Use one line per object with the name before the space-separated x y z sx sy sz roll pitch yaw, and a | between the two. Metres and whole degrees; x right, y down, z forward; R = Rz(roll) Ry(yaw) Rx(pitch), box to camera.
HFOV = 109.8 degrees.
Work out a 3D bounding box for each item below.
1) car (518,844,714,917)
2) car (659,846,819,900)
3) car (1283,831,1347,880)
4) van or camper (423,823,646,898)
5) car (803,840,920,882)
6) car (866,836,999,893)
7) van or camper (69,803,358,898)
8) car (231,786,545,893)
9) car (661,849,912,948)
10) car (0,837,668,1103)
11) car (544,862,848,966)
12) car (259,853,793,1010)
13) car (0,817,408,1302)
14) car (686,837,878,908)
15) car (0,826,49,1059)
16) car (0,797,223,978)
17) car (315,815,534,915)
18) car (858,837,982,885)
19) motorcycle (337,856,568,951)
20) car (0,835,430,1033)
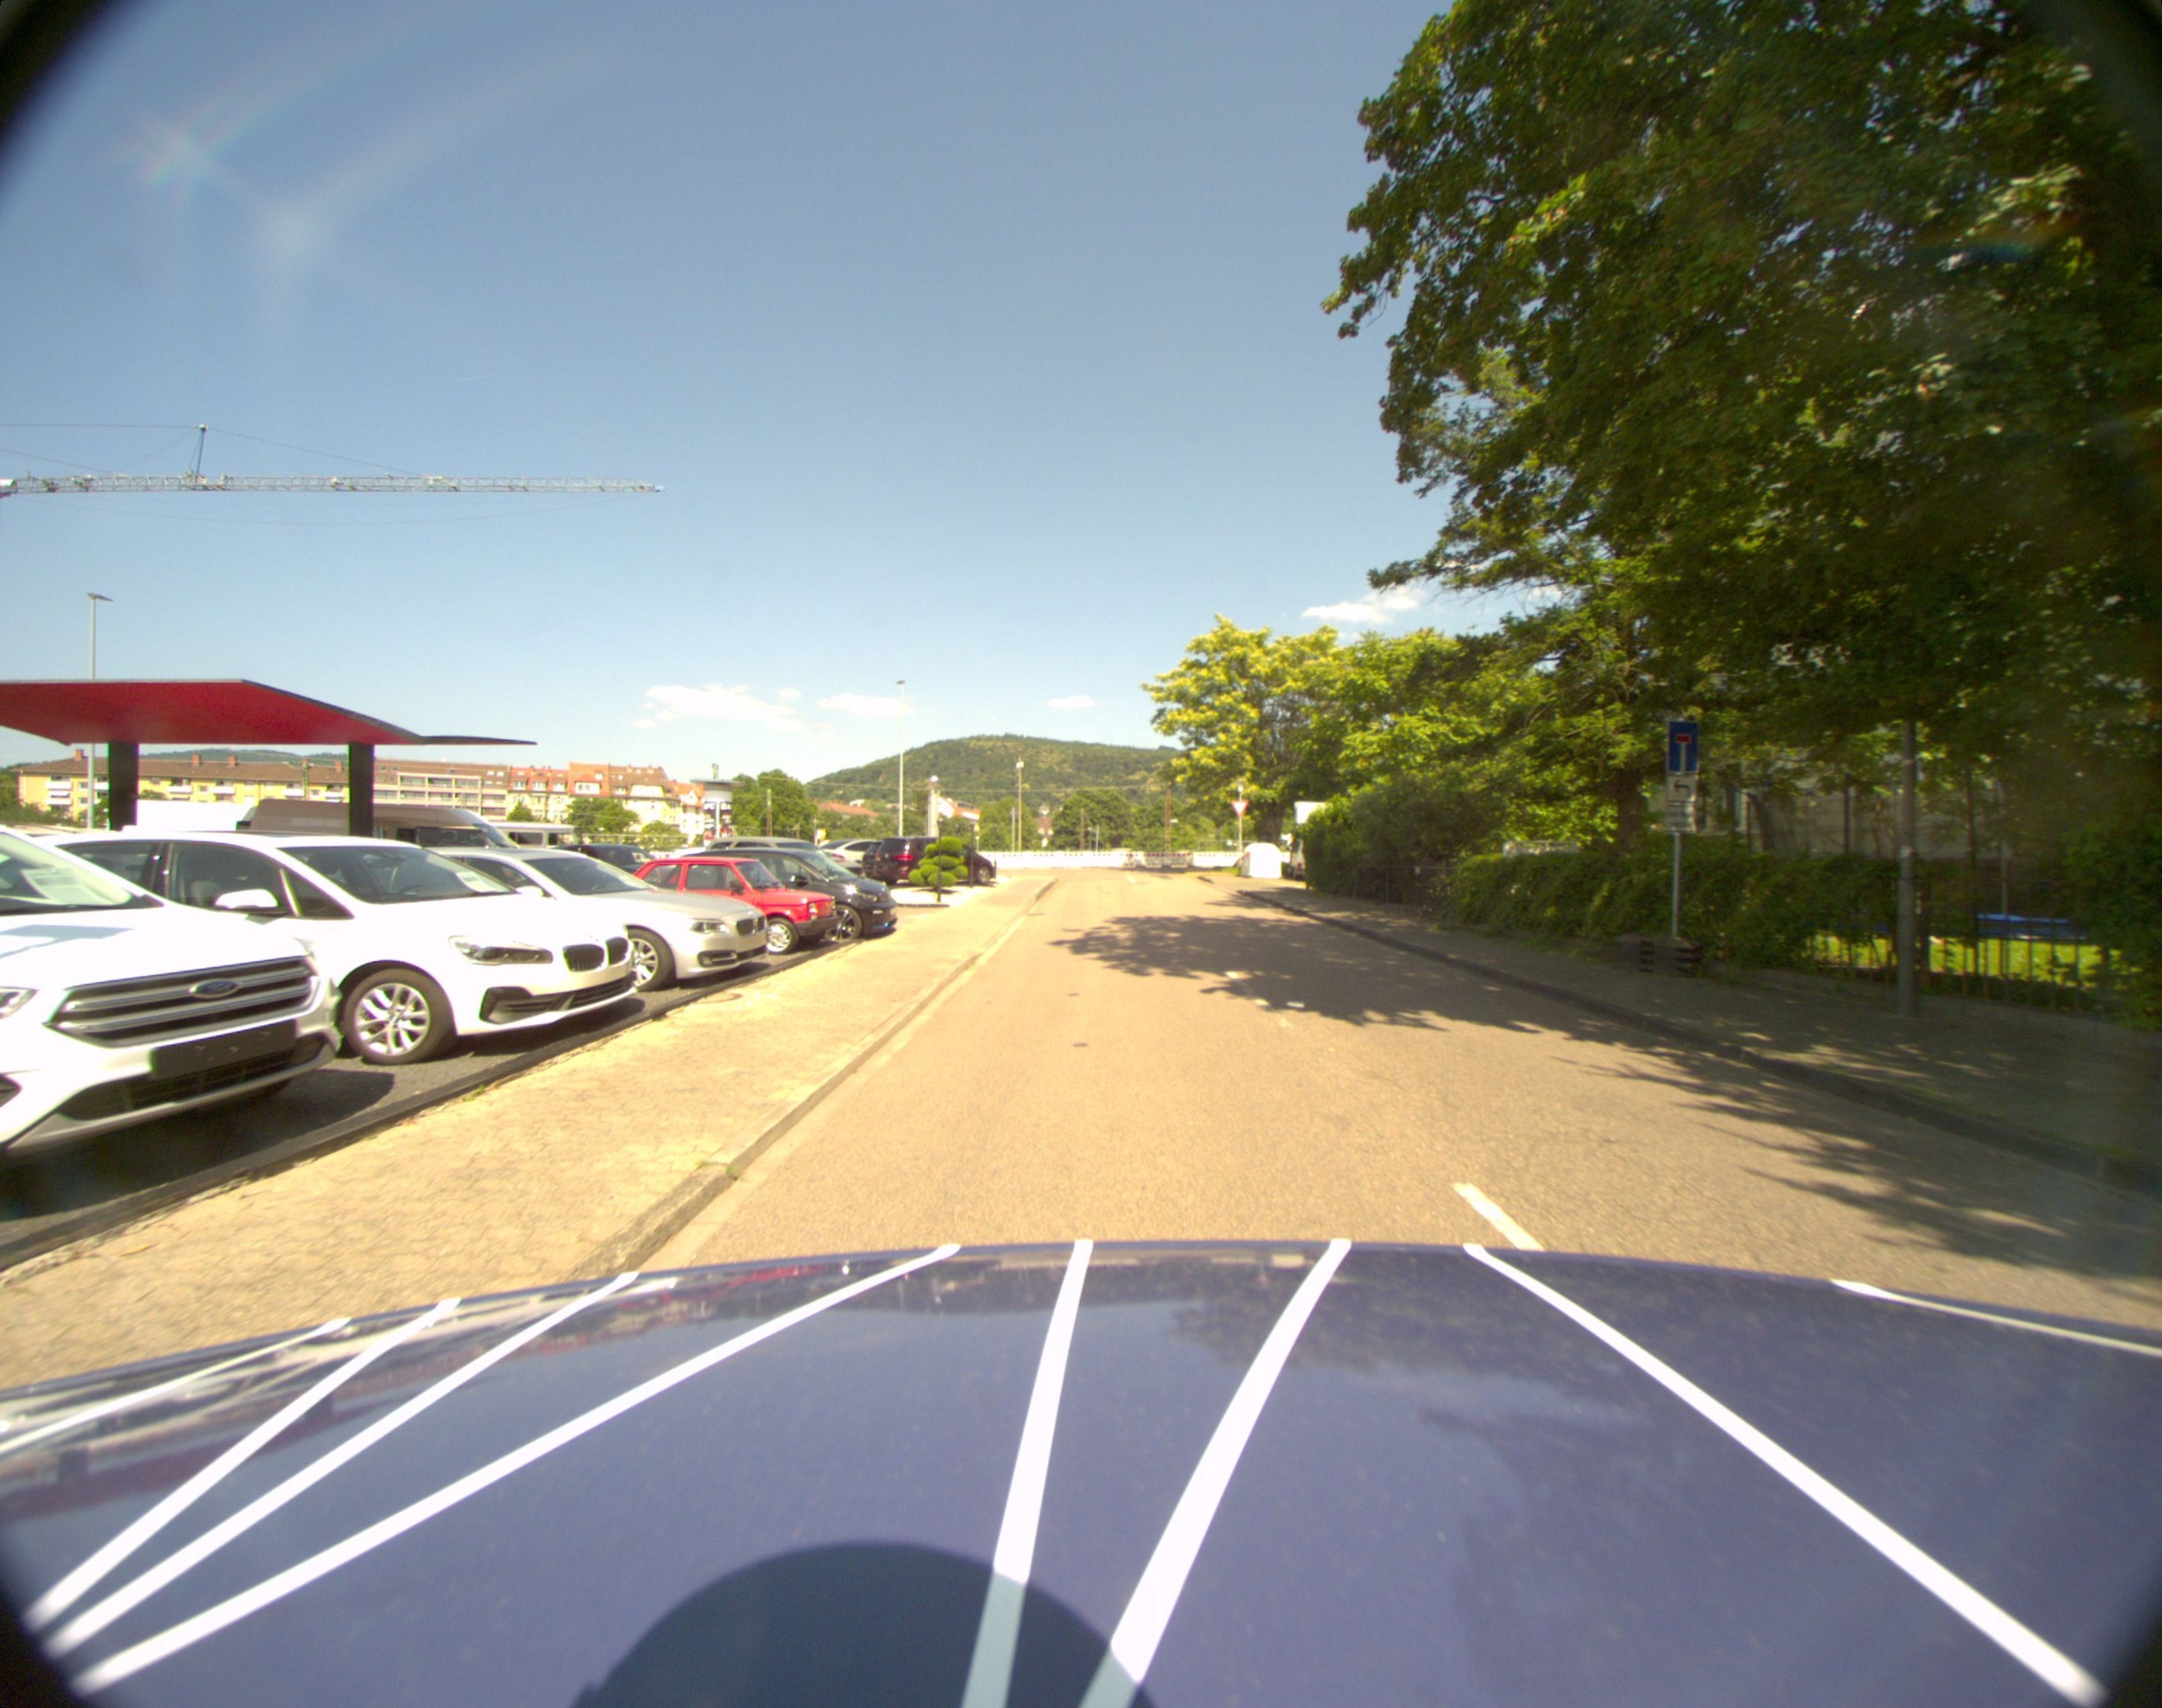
car | -11.834 0.597 19.353 4.565 1.626 1.928 1 1 23
car | -10.737 0.522 24.002 4.216 1.525 1.919 -1 2 -40
car | 10.489 -0.029 34.433 1.997 1.920 5.102 2 3 9
van or camper | -17.523 0.147 24.772 5.512 2.248 2.108 -1 1 -21
car | -9.250 0.230 32.450 2.011 1.682 4.826 1 1 28
car | -4.956 0.291 25.864 1.847 1.772 4.299 2 2 37
van or camper | -24.073 -0.115 21.426 4.943 2.422 1.995 0 1 -29
car | -18.816 -0.360 21.130 6.025 2.663 2.255 0 1 -21
car | -5.137 0.747 13.651 3.812 1.615 1.759 1 1 0
car | -5.826 0.711 5.662 4.414 1.519 1.896 2 1 -1
car | -5.361 0.808 10.910 3.558 1.327 1.558 1 1 0
car | -5.723 0.747 8.291 4.414 1.488 1.897 0 1 0
car | -5.878 0.685 3.179 4.414 1.644 1.843 0 1 -1
car | -8.142 0.438 20.648 4.984 1.752 1.928 1 1 25
car | -9.631 0.763 4.409 1.998 1.849 3.788 -1 1 1
car | -12.952 0.362 8.186 1.999 2.002 4.905 1 1 -3
car | -15.792 0.208 18.290 4.566 2.138 1.928 1 1 19
car | -6.442 0.215 30.954 2.011 1.769 4.827 1 1 36
motorcycle | -9.983 0.757 12.202 2.691 1.425 1.009 0 1 -9
car | -10.096 0.663 8.587 1.998 1.718 3.999 0 1 0
